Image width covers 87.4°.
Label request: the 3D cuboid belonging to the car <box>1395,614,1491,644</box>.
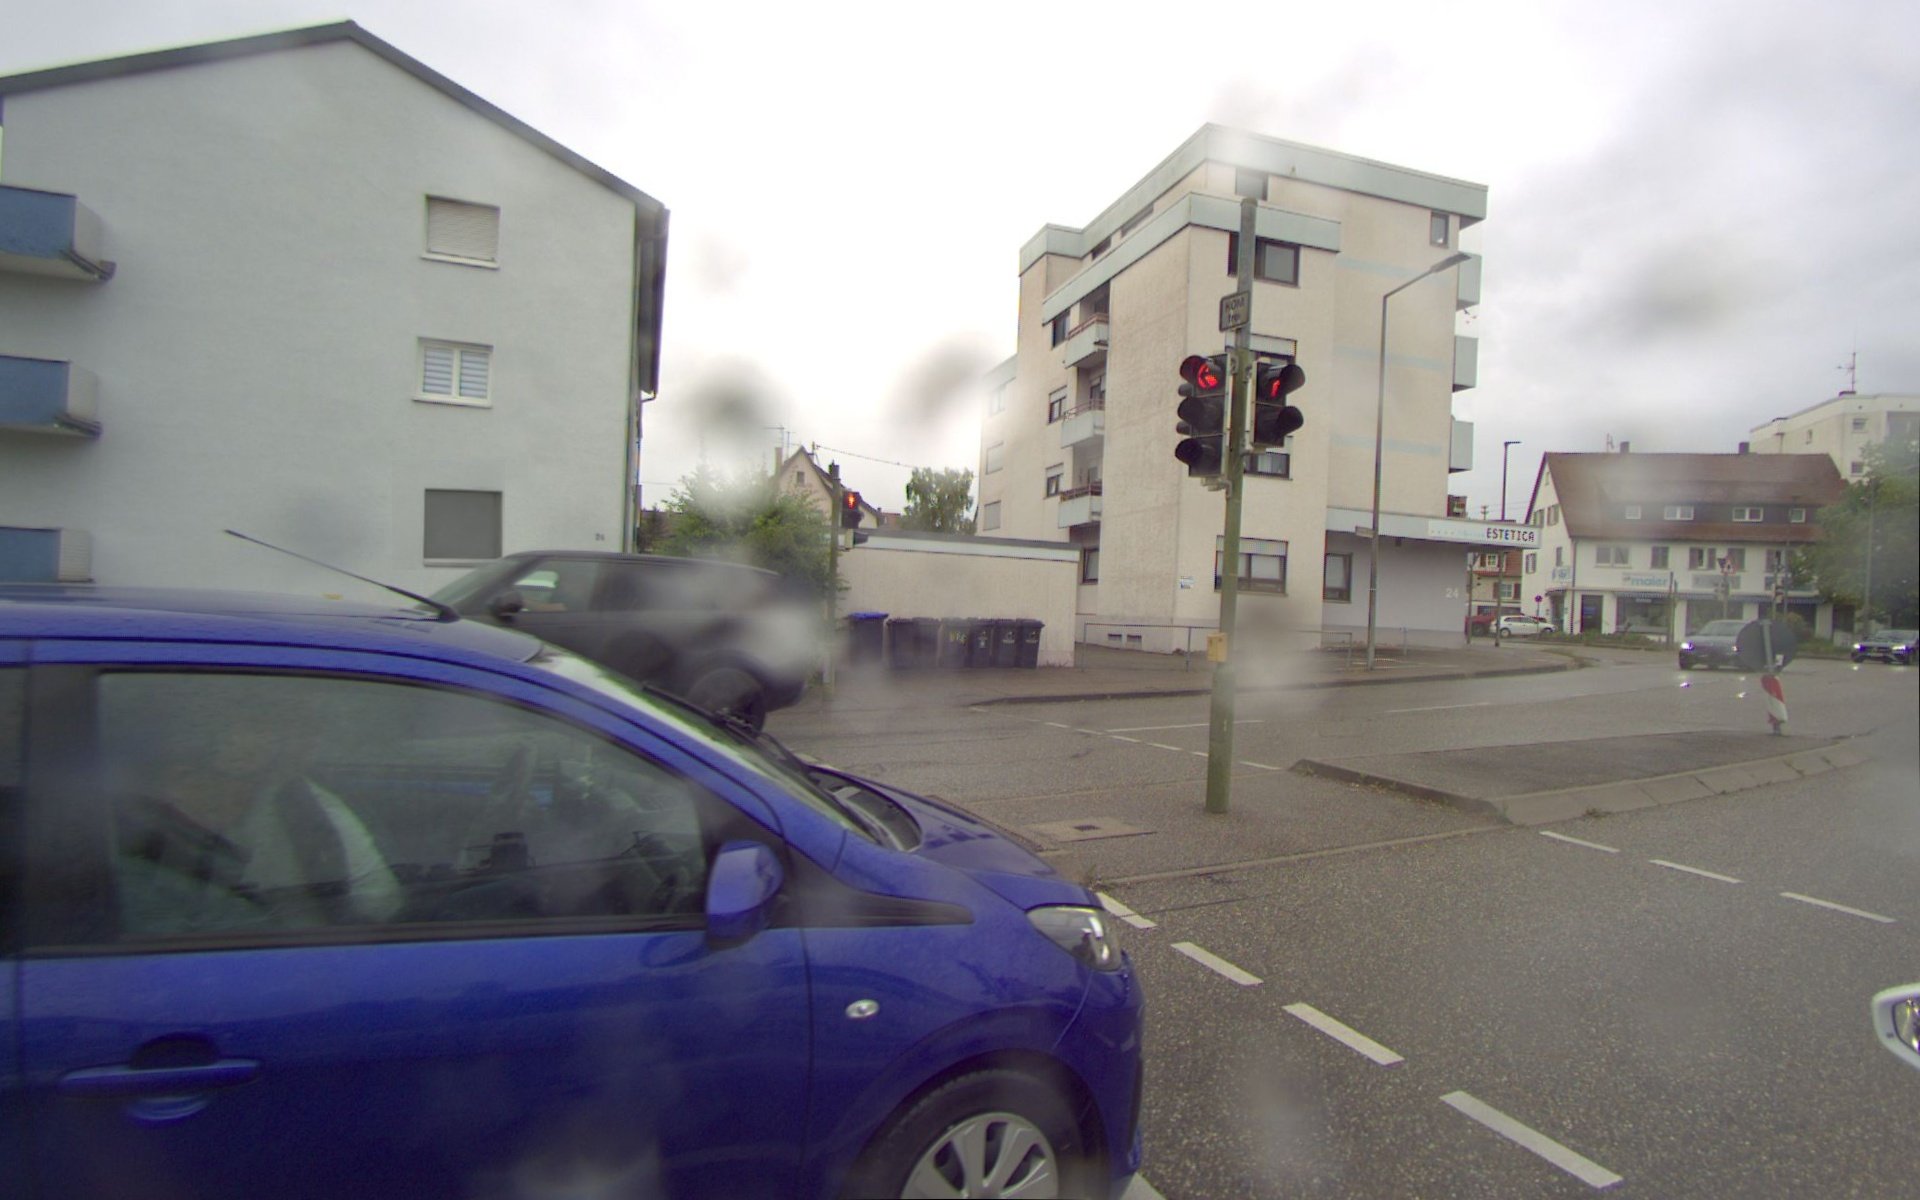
[{"bbox_3d":[33.930,2.006,70.705,5.733,1.867,2.001,2,0,11],"label":"car"}]

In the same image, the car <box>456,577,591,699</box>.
[{"bbox_3d":[-7.187,0.555,16.765,1.802,1.773,3.979,1,0,-22],"label":"car"}]

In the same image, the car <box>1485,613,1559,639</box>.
[{"bbox_3d":[37.511,1.731,67.135,3.920,1.546,2.000,2,0,18],"label":"car"}]

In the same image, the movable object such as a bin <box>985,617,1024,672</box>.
[{"bbox_3d":[0.840,0.847,19.089,0.526,0.974,0.498,3,4,-19],"label":"movable object such as a bin"}]

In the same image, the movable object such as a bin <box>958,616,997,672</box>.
[{"bbox_3d":[0.324,0.823,18.936,0.526,0.974,0.498,3,4,-19],"label":"movable object such as a bin"}]

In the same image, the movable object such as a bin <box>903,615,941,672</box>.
[{"bbox_3d":[-0.707,0.804,18.586,0.526,0.974,0.498,3,4,-19],"label":"movable object such as a bin"}]

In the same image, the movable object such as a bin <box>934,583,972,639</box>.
[{"bbox_3d":[-0.131,0.199,18.731,0.526,0.974,0.498,3,4,-19],"label":"movable object such as a bin"}]

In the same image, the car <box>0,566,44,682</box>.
[{"bbox_3d":[-12.909,0.293,11.616,1.902,1.516,4.602,2,0,-22],"label":"car"}]

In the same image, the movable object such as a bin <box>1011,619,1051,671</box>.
[{"bbox_3d":[1.361,0.865,19.337,0.592,0.974,0.498,1,0,-19],"label":"movable object such as a bin"}]

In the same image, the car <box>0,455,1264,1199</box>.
[{"bbox_3d":[-1.177,0.617,2.100,3.312,1.577,1.639,2,0,-30],"label":"car"}]

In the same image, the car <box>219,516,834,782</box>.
[{"bbox_3d":[-3.730,0.382,9.156,4.682,1.857,2.085,2,0,-33],"label":"car"}]

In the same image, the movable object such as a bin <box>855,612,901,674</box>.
[{"bbox_3d":[-1.487,0.781,18.254,0.677,1.032,0.498,3,4,-19],"label":"movable object such as a bin"}]

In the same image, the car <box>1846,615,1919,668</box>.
[{"bbox_3d":[38.880,1.698,41.965,5.933,2.040,2.072,2,-2,-41],"label":"car"}]

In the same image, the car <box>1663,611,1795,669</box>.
[{"bbox_3d":[22.050,1.129,28.778,4.120,1.492,1.777,2,0,-34],"label":"car"}]
